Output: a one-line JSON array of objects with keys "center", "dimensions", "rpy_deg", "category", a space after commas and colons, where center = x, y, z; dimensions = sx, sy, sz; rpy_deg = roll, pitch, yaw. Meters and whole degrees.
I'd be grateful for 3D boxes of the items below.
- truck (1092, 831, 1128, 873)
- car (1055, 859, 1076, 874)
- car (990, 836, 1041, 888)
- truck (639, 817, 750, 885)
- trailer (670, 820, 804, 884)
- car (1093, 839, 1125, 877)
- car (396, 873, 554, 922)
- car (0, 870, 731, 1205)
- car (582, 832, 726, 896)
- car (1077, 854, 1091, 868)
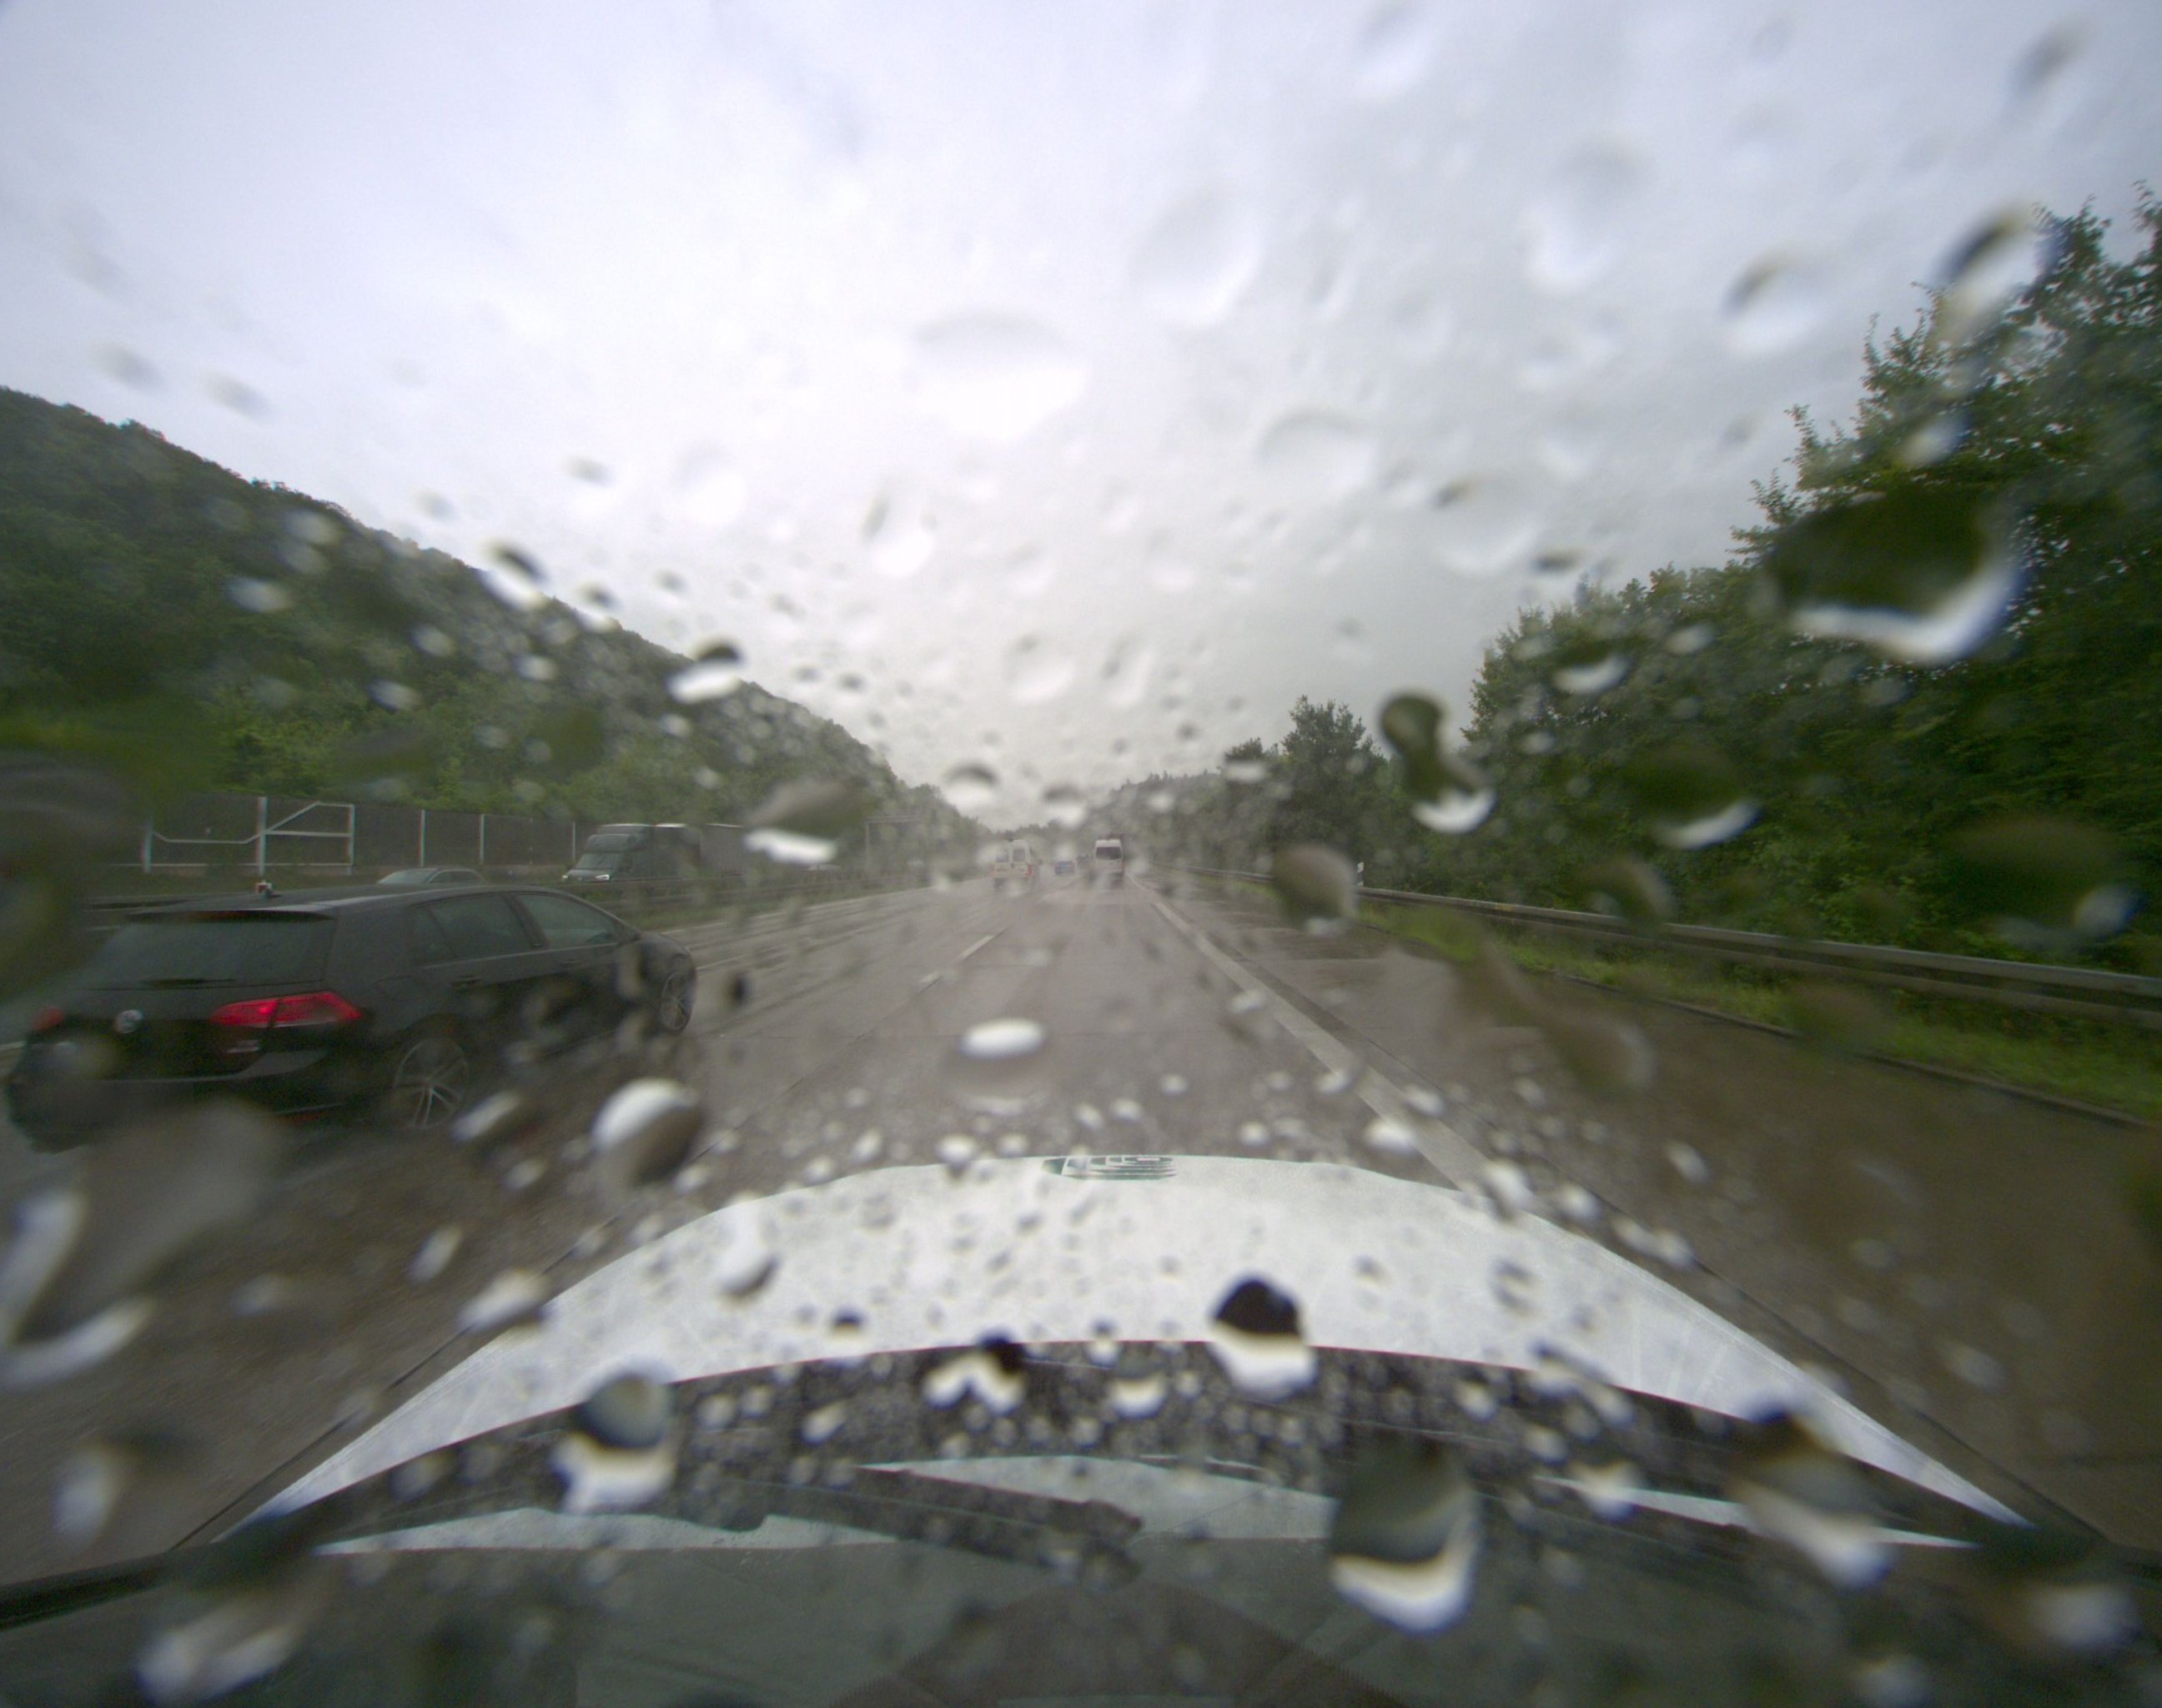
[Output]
[{"center": [2.946, -0.282, 83.486], "dimensions": [3.372, 3.968, 8.670], "rpy_deg": [-2, 2, 1], "category": "truck"}, {"center": [-1.476, 1.173, 76.051], "dimensions": [1.851, 1.339, 4.348], "rpy_deg": [1, 0, -1], "category": "car"}, {"center": [-3.258, 0.399, 41.574], "dimensions": [1.991, 2.432, 5.791], "rpy_deg": [1, 0, 1], "category": "car"}, {"center": [-23.277, -0.145, 49.609], "dimensions": [2.764, 3.801, 7.684], "rpy_deg": [1, 0, 2], "category": "truck"}, {"center": [-23.030, -0.101, 55.874], "dimensions": [2.756, 3.801, 13.785], "rpy_deg": [1, 0, 2], "category": "trailer"}, {"center": [1.778, 0.246, 53.110], "dimensions": [1.893, 2.334, 5.251], "rpy_deg": [1, 0, 1], "category": "car"}, {"center": [-19.517, 1.350, 26.525], "dimensions": [1.746, 1.339, 4.425], "rpy_deg": [1, 0, 1], "category": "car"}, {"center": [-4.354, 0.852, 5.725], "dimensions": [1.734, 1.388, 4.324], "rpy_deg": [-2, -1, 2], "category": "car"}, {"center": [-18.940, 0.415, 36.748], "dimensions": [2.174, 2.567, 7.451], "rpy_deg": [1, 0, 3], "category": "car"}, {"center": [0.380, 0.951, 112.297], "dimensions": [1.862, 1.810, 4.189], "rpy_deg": [1, 0, 1], "category": "car"}]
